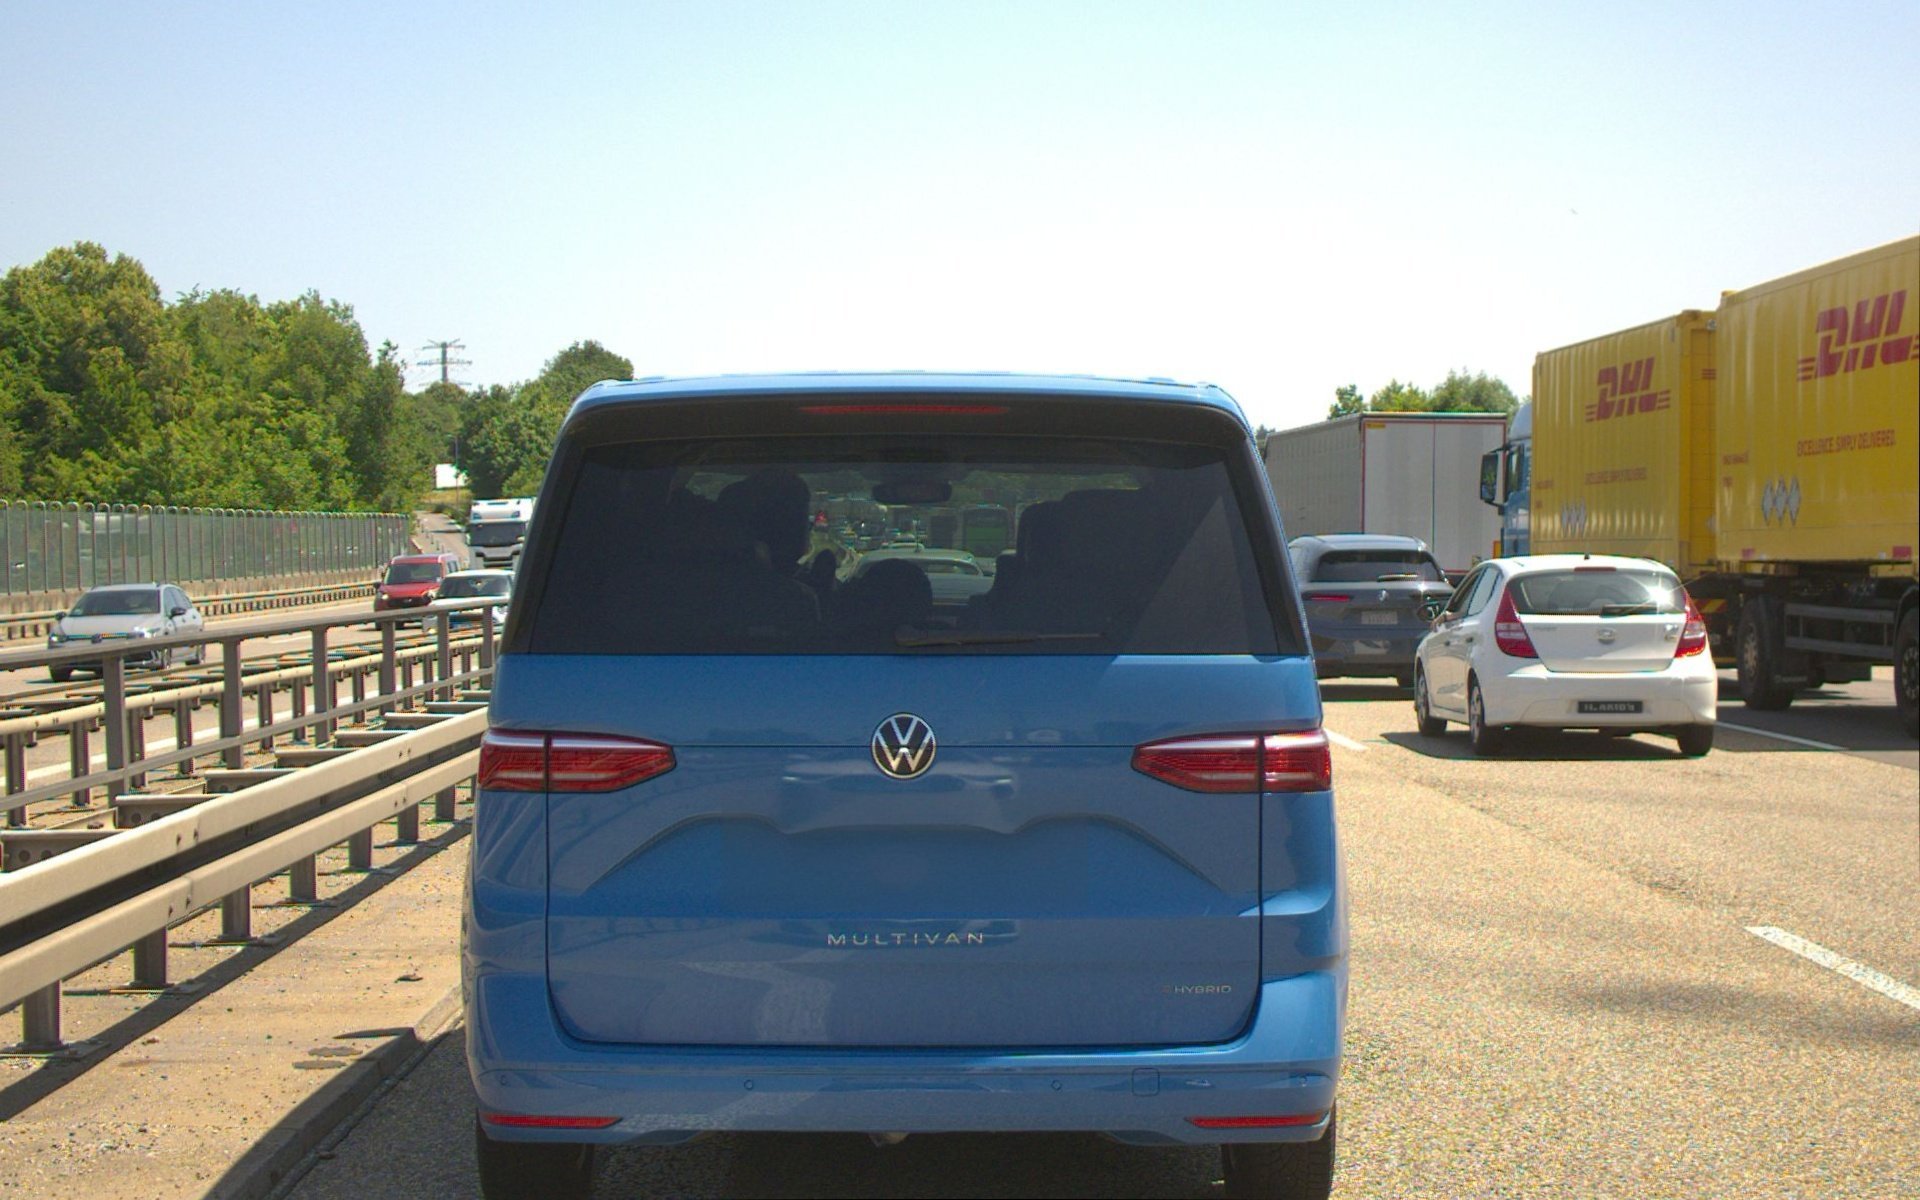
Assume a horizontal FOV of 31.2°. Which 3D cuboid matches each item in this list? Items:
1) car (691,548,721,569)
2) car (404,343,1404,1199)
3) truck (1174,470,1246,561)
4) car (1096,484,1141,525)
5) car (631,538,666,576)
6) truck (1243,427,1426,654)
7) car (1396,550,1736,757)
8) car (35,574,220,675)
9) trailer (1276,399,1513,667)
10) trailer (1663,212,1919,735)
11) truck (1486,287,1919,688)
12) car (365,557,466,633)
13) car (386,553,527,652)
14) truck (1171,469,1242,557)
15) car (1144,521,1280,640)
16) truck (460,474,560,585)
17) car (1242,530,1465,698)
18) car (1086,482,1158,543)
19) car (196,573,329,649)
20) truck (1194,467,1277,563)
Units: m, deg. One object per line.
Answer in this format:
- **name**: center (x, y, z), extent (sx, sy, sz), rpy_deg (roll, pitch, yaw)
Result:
- **car**: center (-18.288, -2.983, 247.630), extent (1.772, 1.486, 4.605), rpy_deg (-1, 1, 0)
- **car**: center (-0.128, 0.433, 8.716), extent (1.930, 1.867, 4.000), rpy_deg (1, 0, 0)
- **truck**: center (7.244, -2.437, 99.903), extent (1.742, 2.540, 4.210), rpy_deg (1, 0, 0)
- **car**: center (7.172, -4.322, 155.775), extent (1.797, 1.745, 3.943), rpy_deg (1, 0, 0)
- **car**: center (-22.230, -3.027, 245.396), extent (1.993, 2.573, 6.651), rpy_deg (-3, 0, -2)
- **truck**: center (7.980, -1.243, 74.229), extent (3.026, 4.595, 7.921), rpy_deg (1, 0, 0)
- **car**: center (4.594, 0.371, 26.609), extent (1.815, 1.465, 3.932), rpy_deg (1, 0, -2)
- **car**: center (-13.081, 0.356, 54.256), extent (1.871, 1.437, 4.386), rpy_deg (-2, 1, -1)
- **trailer**: center (8.002, -1.193, 64.812), extent (3.026, 4.595, 10.925), rpy_deg (1, 0, 0)
- **trailer**: center (8.694, -1.001, 30.720), extent (2.682, 4.074, 8.981), rpy_deg (1, 0, -2)
- **truck**: center (8.411, -1.188, 40.213), extent (2.699, 4.074, 9.940), rpy_deg (1, 0, -1)
- **car**: center (-13.585, -0.138, 86.011), extent (1.839, 1.816, 4.748), rpy_deg (-1, 0, -1)
- **car**: center (-8.846, 0.022, 60.667), extent (1.871, 1.524, 3.609), rpy_deg (-6, 1, -1)
- **truck**: center (7.531, -2.635, 105.338), extent (1.797, 2.587, 4.305), rpy_deg (1, 0, 0)
- **car**: center (4.237, -0.335, 58.416), extent (1.962, 1.929, 3.932), rpy_deg (1, 0, 0)
- **truck**: center (-18.455, -2.847, 141.251), extent (2.929, 4.279, 6.858), rpy_deg (-3, 0, 1)
- **car**: center (4.136, 0.132, 36.668), extent (1.815, 1.673, 3.932), rpy_deg (1, 0, -1)
- **car**: center (4.796, -2.590, 102.234), extent (1.919, 1.700, 4.000), rpy_deg (1, 0, -1)
- **car**: center (-14.355, 0.195, 70.995), extent (1.871, 1.437, 4.386), rpy_deg (-2, 1, -1)
- **truck**: center (7.286, -2.211, 91.222), extent (1.798, 2.441, 4.504), rpy_deg (1, 0, 0)
